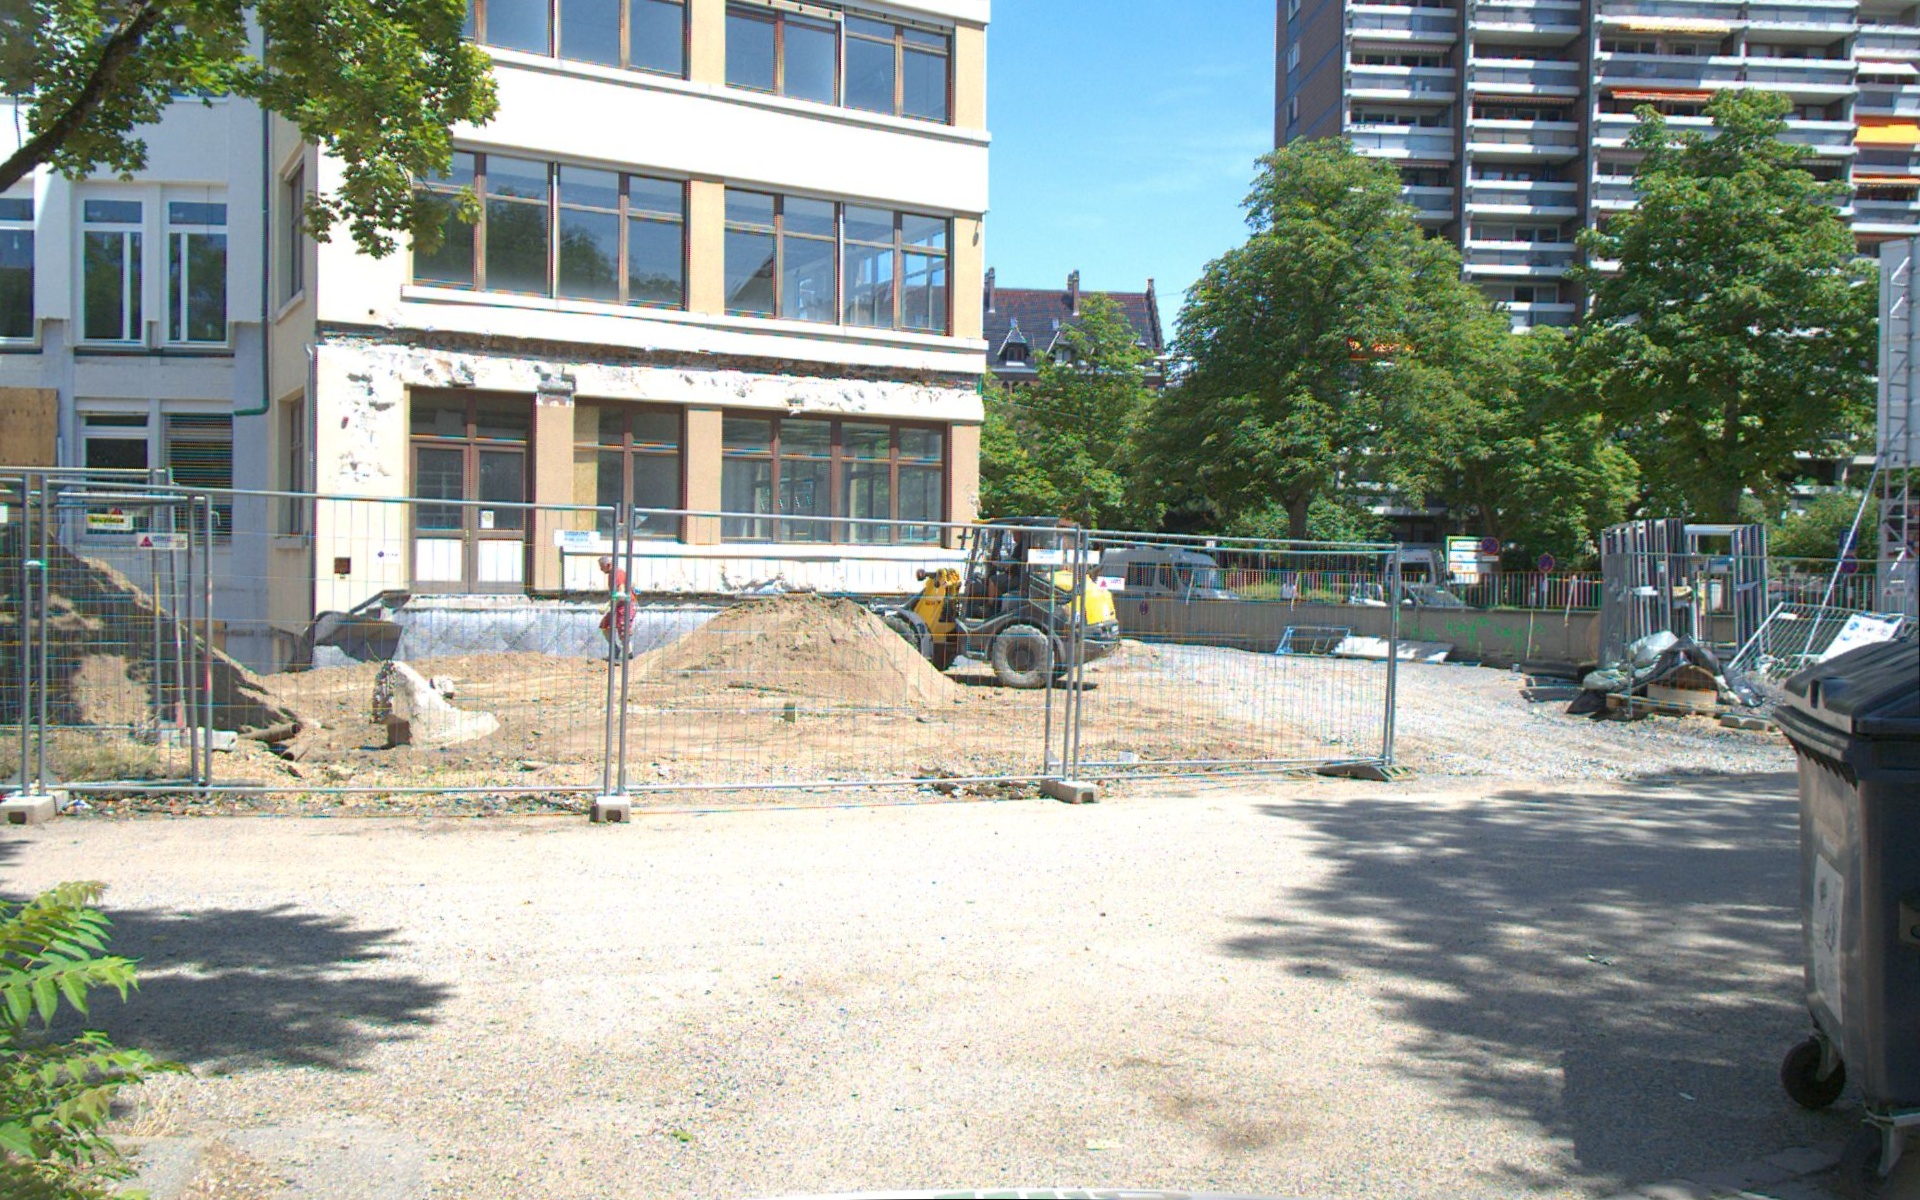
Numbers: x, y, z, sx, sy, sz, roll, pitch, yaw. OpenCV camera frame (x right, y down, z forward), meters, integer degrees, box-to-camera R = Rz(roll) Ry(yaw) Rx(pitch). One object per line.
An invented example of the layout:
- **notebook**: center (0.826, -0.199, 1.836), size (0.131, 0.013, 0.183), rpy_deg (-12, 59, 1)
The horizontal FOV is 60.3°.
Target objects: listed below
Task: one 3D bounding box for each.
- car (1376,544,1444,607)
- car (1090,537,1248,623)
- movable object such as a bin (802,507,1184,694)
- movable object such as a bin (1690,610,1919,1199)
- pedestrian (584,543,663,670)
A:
- **car**: center (16.969, -0.911, 62.214), size (2.139, 2.297, 4.870), rpy_deg (1, 0, 19)
- **car**: center (6.215, -0.602, 49.840), size (1.973, 2.458, 5.189), rpy_deg (0, 1, -30)
- **movable object such as a bin**: center (0.525, -0.054, 25.334), size (5.292, 2.507, 2.368), rpy_deg (3, 1, 20)
- **movable object such as a bin**: center (2.804, 0.783, 4.449), size (1.053, 1.483, 1.377), rpy_deg (0, 0, -1)
- **pedestrian**: center (-5.110, 0.087, 25.106), size (0.972, 1.879, 0.909), rpy_deg (0, 0, -28)
